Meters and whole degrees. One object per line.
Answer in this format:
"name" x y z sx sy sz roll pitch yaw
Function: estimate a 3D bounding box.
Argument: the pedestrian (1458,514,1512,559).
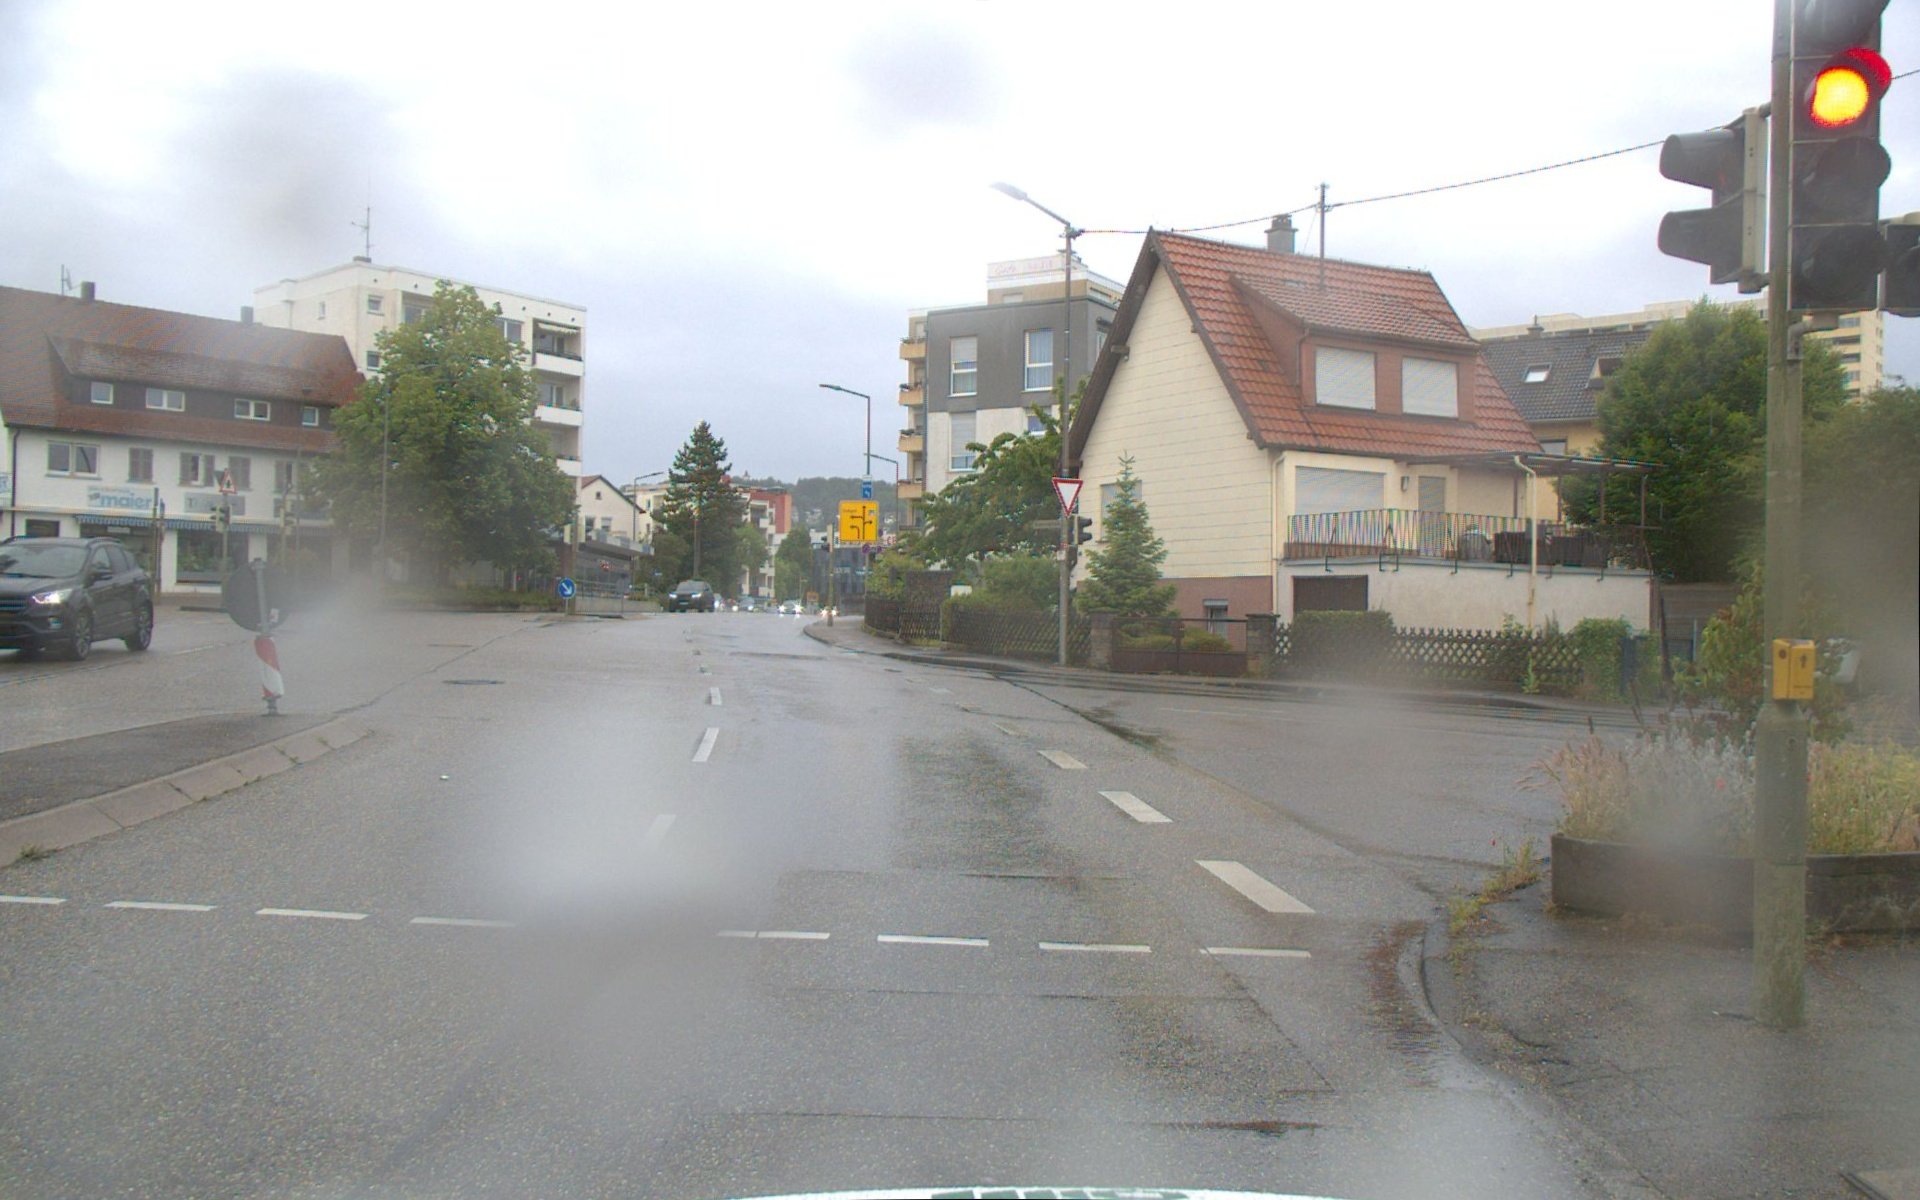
"pedestrian" 11.150 -1.341 35.157 0.902 0.898 0.632 1 -2 -20

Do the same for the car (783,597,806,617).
"car" -14.724 0.644 147.282 1.955 1.708 3.995 1 0 -5

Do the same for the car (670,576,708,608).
"car" -15.873 -0.451 97.138 1.956 1.768 5.173 1 0 -7

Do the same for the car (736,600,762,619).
"car" -17.757 0.785 139.260 1.955 1.489 3.995 1 0 -5

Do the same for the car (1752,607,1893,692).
"car" 15.619 0.859 29.855 1.780 1.386 3.986 1 0 35

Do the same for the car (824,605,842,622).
"car" -14.443 1.520 187.685 1.955 1.843 3.995 1 0 -5

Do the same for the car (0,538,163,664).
"car" -12.933 -0.055 23.434 1.844 1.625 4.176 1 2 -10
